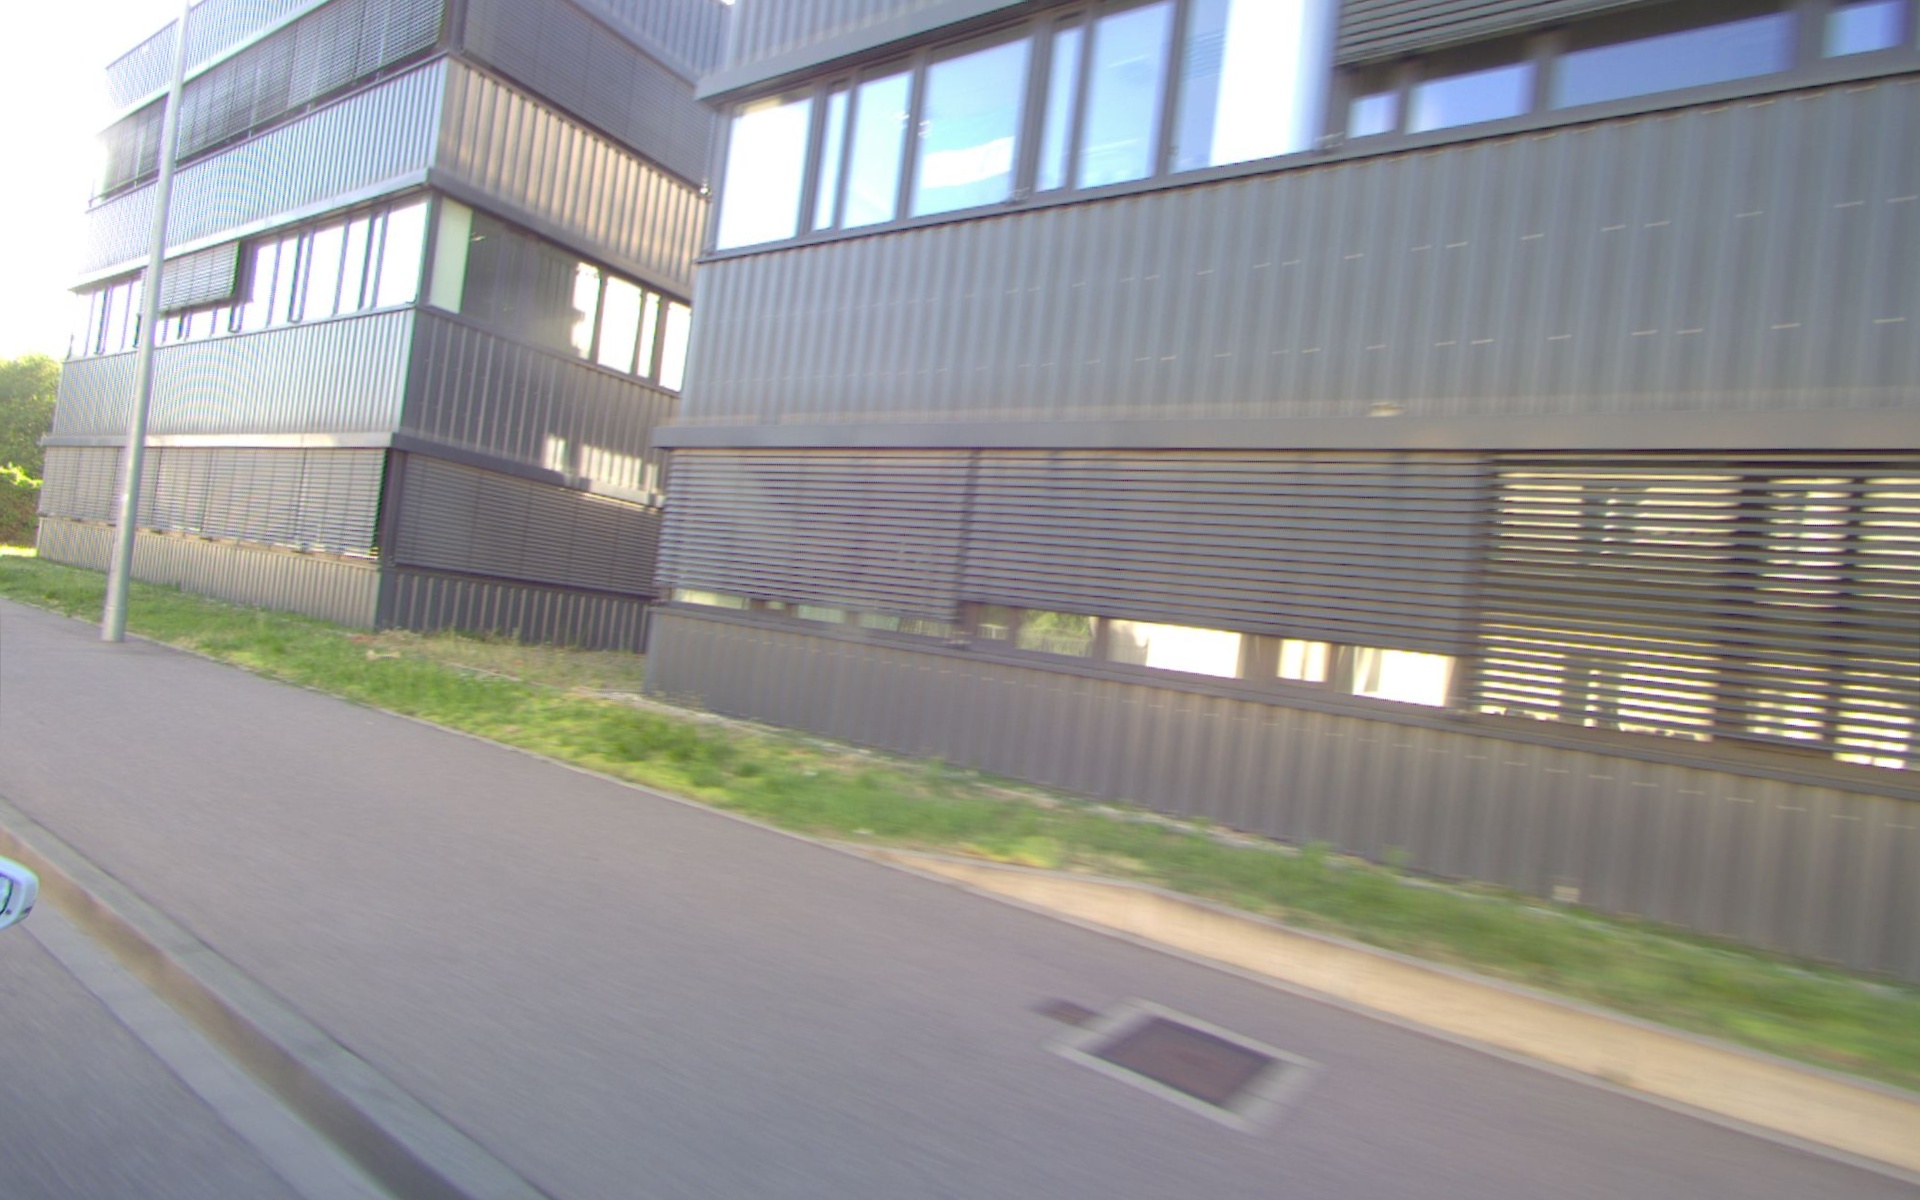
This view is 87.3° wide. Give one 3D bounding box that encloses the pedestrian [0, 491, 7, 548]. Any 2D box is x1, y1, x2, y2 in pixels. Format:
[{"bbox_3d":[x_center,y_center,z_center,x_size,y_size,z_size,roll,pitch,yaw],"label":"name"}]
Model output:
[{"bbox_3d":[-31.481,-2.659,32.195,0.881,1.816,1.153,7,2,30],"label":"pedestrian"}]
